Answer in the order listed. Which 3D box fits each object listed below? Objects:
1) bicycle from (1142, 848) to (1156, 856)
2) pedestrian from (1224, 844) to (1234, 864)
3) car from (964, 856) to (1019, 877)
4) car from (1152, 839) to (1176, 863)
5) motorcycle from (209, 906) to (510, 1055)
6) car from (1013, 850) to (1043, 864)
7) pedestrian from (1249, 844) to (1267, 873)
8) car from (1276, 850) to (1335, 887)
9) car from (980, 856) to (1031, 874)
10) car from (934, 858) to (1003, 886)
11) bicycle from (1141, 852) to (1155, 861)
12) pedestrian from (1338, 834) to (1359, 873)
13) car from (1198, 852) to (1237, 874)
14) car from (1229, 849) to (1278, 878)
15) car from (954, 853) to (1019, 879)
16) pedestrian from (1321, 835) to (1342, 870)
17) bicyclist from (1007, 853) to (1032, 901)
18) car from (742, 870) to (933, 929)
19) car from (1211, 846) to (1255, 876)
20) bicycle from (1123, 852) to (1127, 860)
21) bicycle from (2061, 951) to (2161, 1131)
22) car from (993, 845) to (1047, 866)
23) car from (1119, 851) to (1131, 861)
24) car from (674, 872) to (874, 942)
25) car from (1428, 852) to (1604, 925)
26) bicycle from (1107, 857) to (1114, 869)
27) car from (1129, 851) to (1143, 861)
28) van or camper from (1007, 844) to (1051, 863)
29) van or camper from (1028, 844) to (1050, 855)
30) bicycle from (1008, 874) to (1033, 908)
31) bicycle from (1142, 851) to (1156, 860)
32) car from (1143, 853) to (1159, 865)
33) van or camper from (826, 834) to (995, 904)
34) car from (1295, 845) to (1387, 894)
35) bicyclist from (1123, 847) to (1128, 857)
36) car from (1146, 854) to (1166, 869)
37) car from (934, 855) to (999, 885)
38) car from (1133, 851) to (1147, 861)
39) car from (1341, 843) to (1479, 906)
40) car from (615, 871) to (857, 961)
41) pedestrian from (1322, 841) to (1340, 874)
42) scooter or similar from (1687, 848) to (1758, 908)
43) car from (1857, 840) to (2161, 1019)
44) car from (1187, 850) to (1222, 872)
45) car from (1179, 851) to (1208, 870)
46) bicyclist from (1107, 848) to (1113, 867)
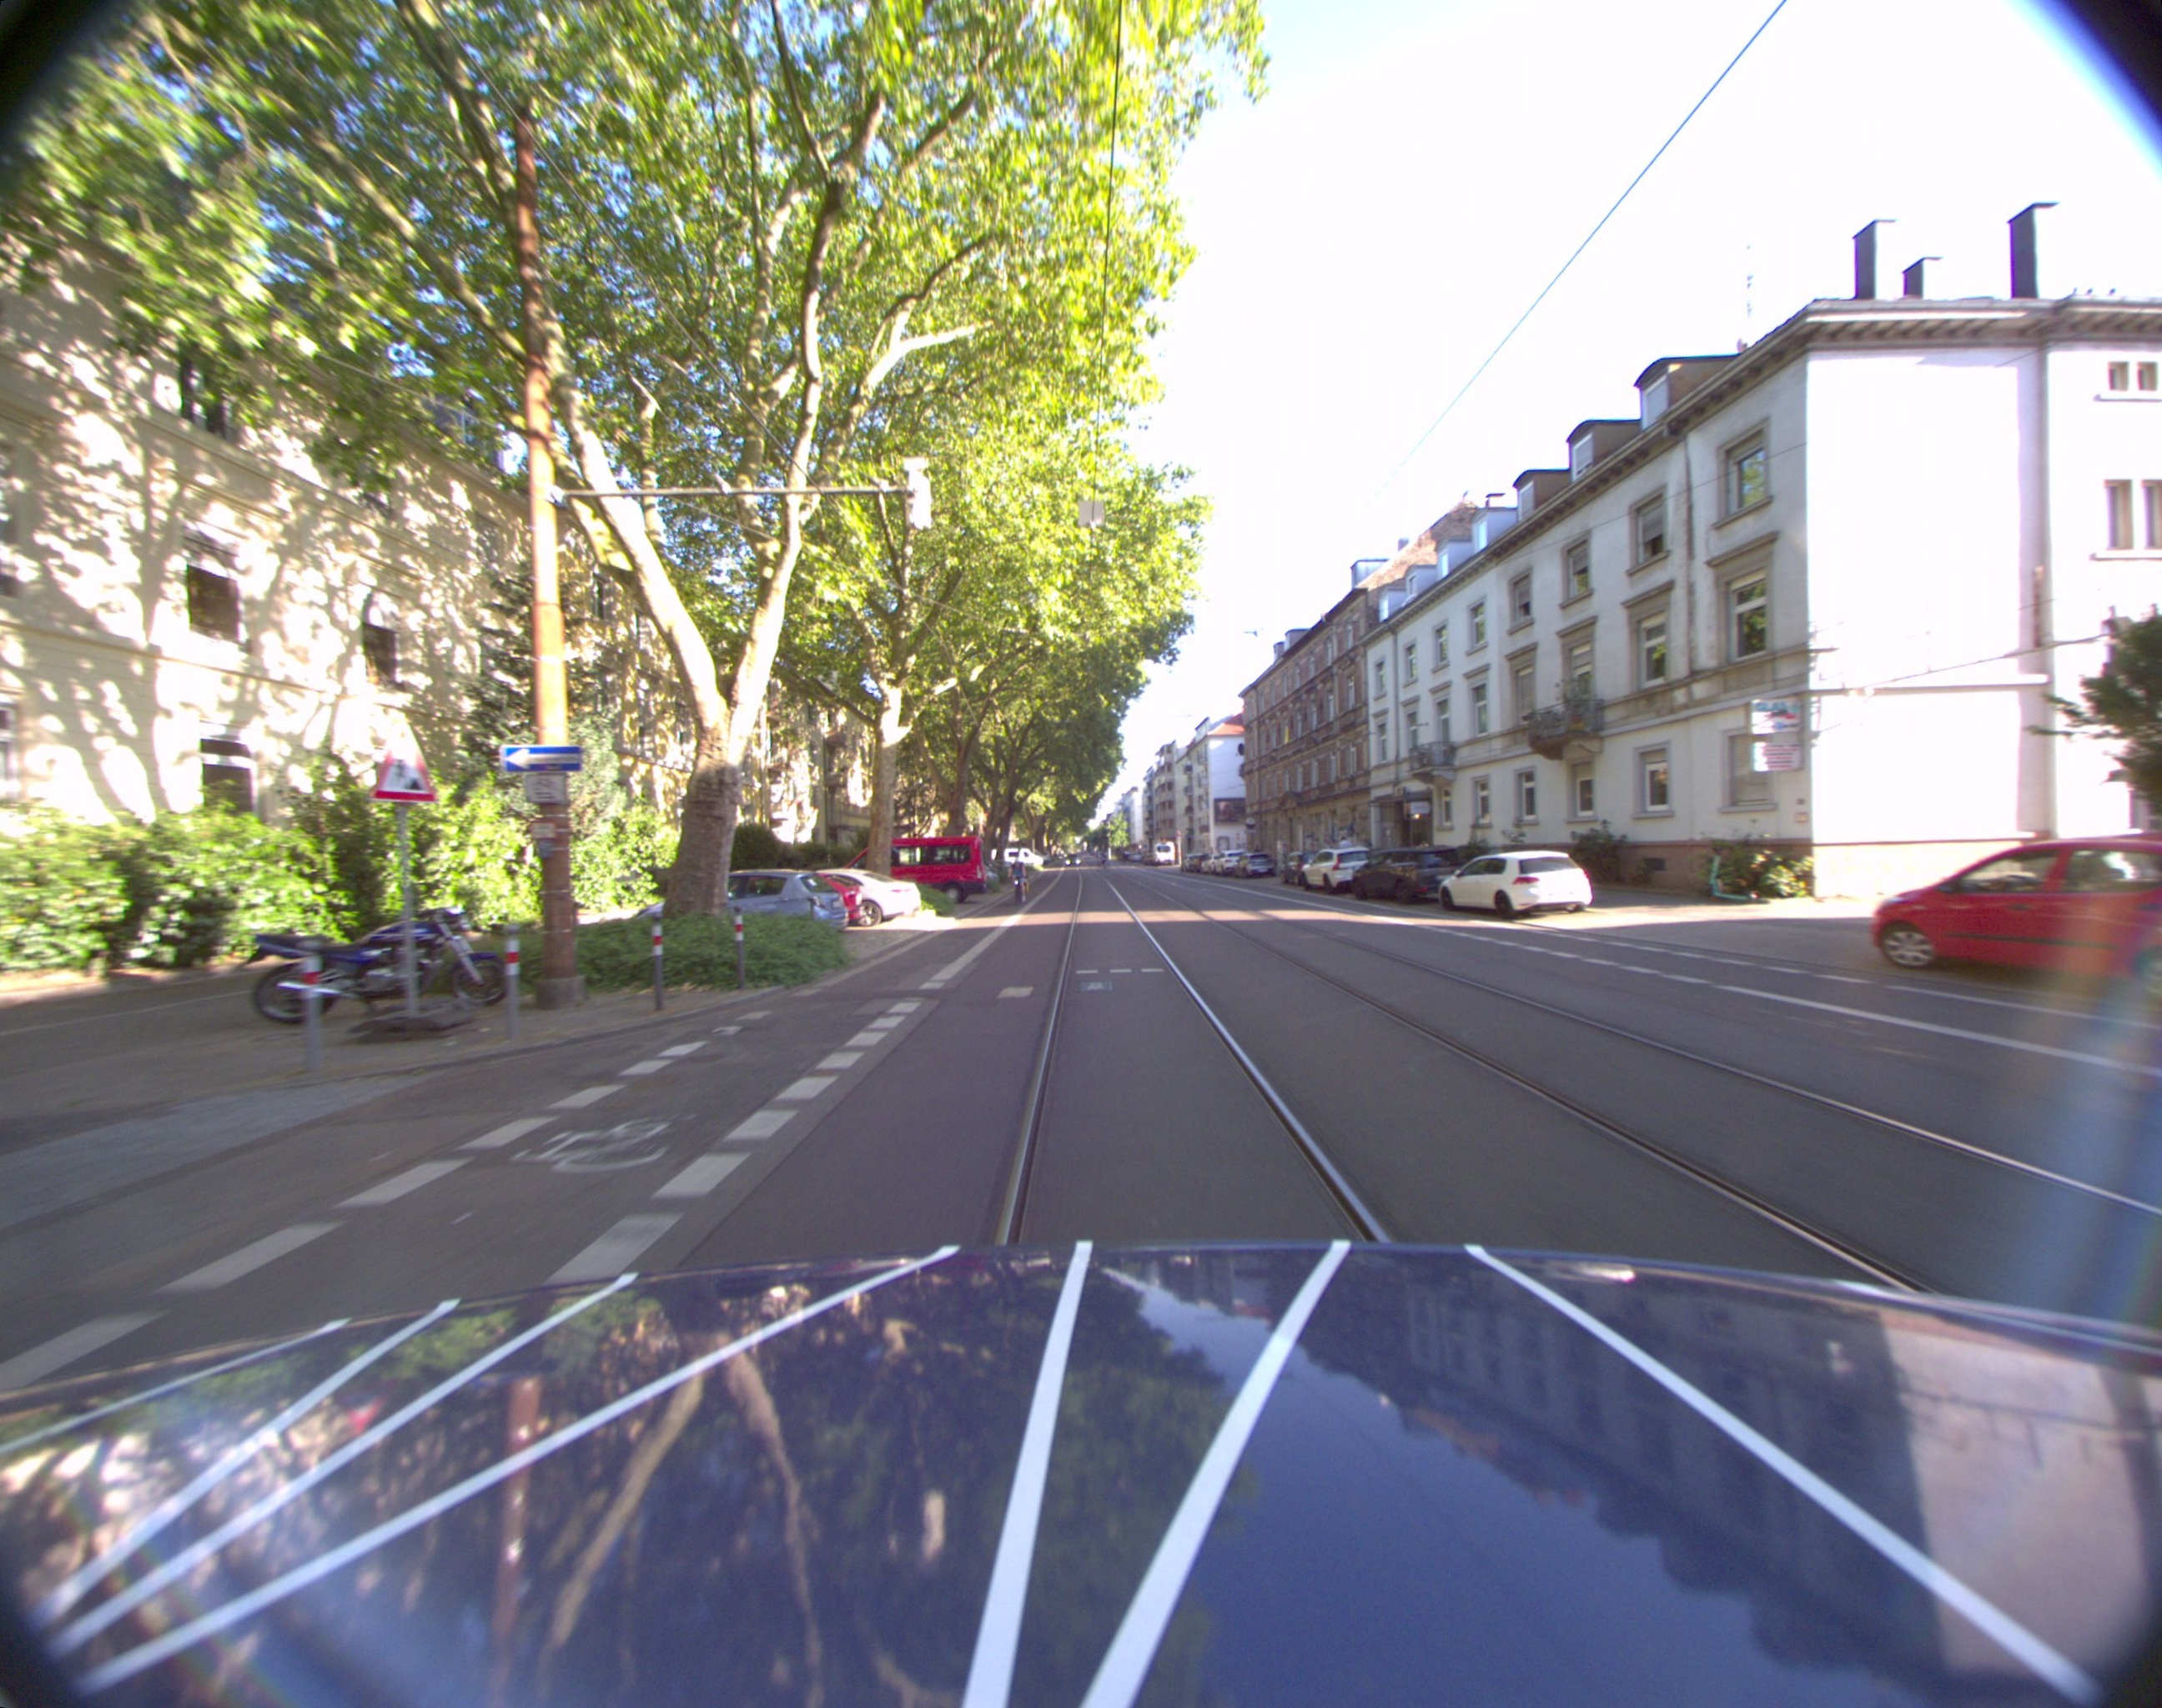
[{"bbox_3d":[9.337,-0.265,104.897,1.897,1.032,0.402,-3,1,6],"label":"bicycle"},{"bbox_3d":[12.910,0.024,66.142,0.658,1.738,0.894,-3,-1,3],"label":"pedestrian"},{"bbox_3d":[-6.707,0.931,57.350,4.040,1.471,1.680,-1,1,-6],"label":"car"},{"bbox_3d":[9.273,-0.359,84.959,2.070,2.521,5.666,-2,1,1],"label":"car"},{"bbox_3d":[-7.407,1.258,7.949,2.174,1.221,0.474,-3,1,-28],"label":"motorcycle"},{"bbox_3d":[-7.032,0.383,101.026,3.966,1.646,1.795,-1,1,-3],"label":"car"},{"bbox_3d":[11.465,0.297,49.234,0.686,1.790,1.056,-3,1,-9],"label":"pedestrian"},{"bbox_3d":[9.909,0.614,33.836,1.557,1.506,3.924,-1,0,2],"label":"car"},{"bbox_3d":[-6.600,0.966,66.861,4.104,1.483,1.832,-2,1,8],"label":"car"},{"bbox_3d":[-6.259,1.004,42.553,3.604,1.509,1.693,0,1,0],"label":"car"},{"bbox_3d":[9.580,0.351,108.433,1.935,1.112,0.440,-3,1,6],"label":"bicycle"},{"bbox_3d":[14.149,-0.019,40.172,0.761,2.002,0.830,-2,1,-2],"label":"pedestrian"},{"bbox_3d":[9.748,0.608,54.437,1.704,1.412,3.998,-3,1,-5],"label":"car"},{"bbox_3d":[9.888,0.496,43.766,1.667,1.512,4.063,-3,1,-3],"label":"car"},{"bbox_3d":[-6.387,0.815,51.897,4.274,1.709,1.848,1,1,-3],"label":"car"},{"bbox_3d":[13.268,-0.057,40.194,0.761,1.810,0.829,-2,1,-3],"label":"pedestrian"},{"bbox_3d":[-2.110,0.780,26.122,0.616,1.543,0.935,-6,1,0],"label":"bicyclist"},{"bbox_3d":[-6.113,1.132,19.416,4.296,1.409,1.760,0,0,1],"label":"car"},{"bbox_3d":[9.775,0.410,49.291,1.791,1.713,4.717,-3,1,0],"label":"car"},{"bbox_3d":[6.787,0.261,116.497,0.422,1.144,2.231,-1,1,-1],"label":"bicycle"},{"bbox_3d":[6.223,1.069,3.674,0.500,0.937,1.921,0,0,1],"label":"bicycle"},{"bbox_3d":[-7.092,0.147,88.542,6.006,2.269,2.006,-2,0,1],"label":"car"},{"bbox_3d":[7.942,0.303,136.607,1.660,1.591,4.201,-3,1,-2],"label":"car"},{"bbox_3d":[-6.674,1.133,16.860,3.762,1.379,1.680,0,1,-6],"label":"car"},{"bbox_3d":[10.201,0.723,18.235,1.691,1.468,4.257,-3,0,0],"label":"car"},{"bbox_3d":[2.597,0.789,66.961,0.482,1.079,1.846,-2,0,1],"label":"bicycle"},{"bbox_3d":[9.061,0.311,126.171,1.798,1.482,4.239,-2,1,-2],"label":"car"},{"bbox_3d":[-7.253,-0.092,107.081,6.048,2.476,2.107,-1,1,-1],"label":"van or camper"},{"bbox_3d":[-8.479,-0.879,153.683,4.389,2.098,1.837,-1,1,-4],"label":"van or camper"},{"bbox_3d":[-2.072,1.250,26.174,0.596,0.998,2.511,-5,0,0],"label":"bicycle"},{"bbox_3d":[9.490,0.215,106.262,1.793,1.112,0.425,-3,1,6],"label":"bicycle"},{"bbox_3d":[8.907,0.611,96.683,1.722,1.448,4.572,-2,1,1],"label":"car"},{"bbox_3d":[-6.216,0.540,28.388,5.831,2.504,2.287,0,0,-2],"label":"van or camper"},{"bbox_3d":[9.757,0.525,28.931,1.861,1.694,4.762,-1,0,1],"label":"car"},{"bbox_3d":[6.839,-0.263,116.537,0.584,1.473,0.807,-1,1,-1],"label":"bicyclist"},{"bbox_3d":[8.919,0.834,90.311,1.723,1.622,4.345,-2,1,-2],"label":"car"},{"bbox_3d":[-6.770,0.928,45.225,3.604,1.590,1.540,-2,1,0],"label":"car"},{"bbox_3d":[9.387,0.344,121.046,1.694,1.482,4.727,-2,1,0],"label":"car"},{"bbox_3d":[9.978,0.569,23.508,1.862,1.694,4.656,-1,0,-5],"label":"car"},{"bbox_3d":[-6.357,1.112,14.296,3.760,1.499,1.681,-1,1,0],"label":"car"},{"bbox_3d":[12.752,0.172,38.707,0.663,1.656,0.770,-2,1,31],"label":"pedestrian"},{"bbox_3d":[14.390,0.503,17.091,0.447,1.272,1.576,-2,1,8],"label":"scooter or similar"},{"bbox_3d":[10.419,0.657,7.770,1.573,1.553,3.449,-1,0,4],"label":"car"},{"bbox_3d":[9.679,0.552,59.791,1.745,1.553,4.785,-3,1,-2],"label":"car"},{"bbox_3d":[9.591,0.517,65.183,1.745,1.483,4.044,-3,1,-2],"label":"car"},{"bbox_3d":[2.560,0.286,66.783,0.474,1.626,0.800,-2,1,0],"label":"bicyclist"}]
